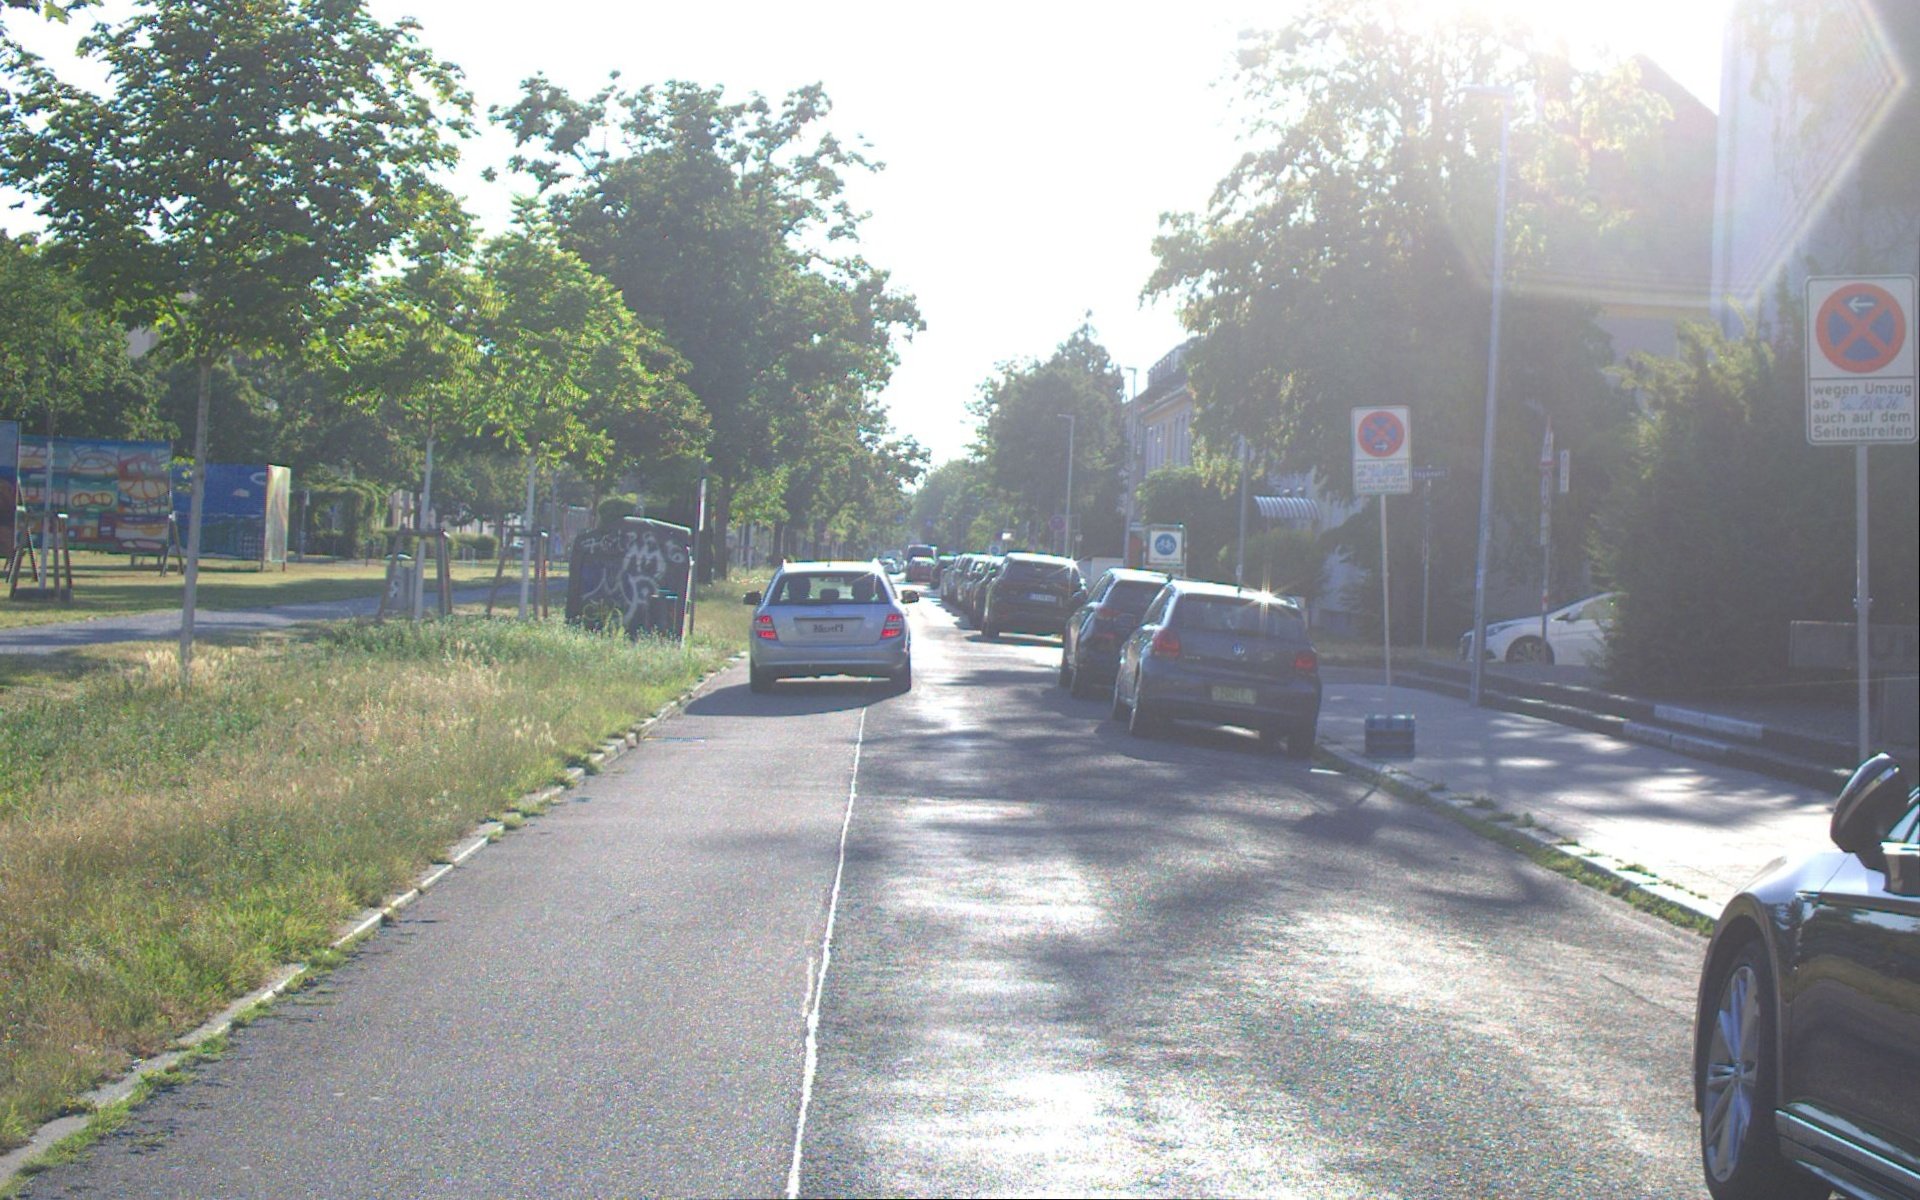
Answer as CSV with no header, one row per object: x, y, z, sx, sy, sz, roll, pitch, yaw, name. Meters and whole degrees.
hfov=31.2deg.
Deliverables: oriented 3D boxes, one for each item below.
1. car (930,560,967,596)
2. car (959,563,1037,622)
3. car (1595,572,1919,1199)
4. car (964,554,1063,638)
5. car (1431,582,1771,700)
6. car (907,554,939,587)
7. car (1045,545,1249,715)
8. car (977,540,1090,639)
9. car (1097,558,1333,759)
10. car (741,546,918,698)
-0.572,-1.044,165.739,1.721,1.591,4.000,2,0,-1,car
1.035,-0.222,95.292,1.993,1.457,4.561,4,1,0,car
2.879,0.853,6.819,1.993,1.592,4.886,7,0,-2,car
1.203,-0.119,79.376,1.933,1.714,4.621,6,1,-1,car
9.959,0.652,53.649,4.846,1.481,2.002,3,-3,-1,car
-2.416,-1.905,223.991,1.988,2.016,4.000,3,0,-1,car
2.062,0.289,39.140,1.822,1.556,4.622,9,1,0,car
1.404,-0.199,67.533,1.832,1.726,5.032,5,0,-2,car
2.315,0.487,32.201,1.687,1.522,4.175,7,1,-1,car
-1.412,0.202,38.576,1.823,1.561,4.000,2,1,-1,car
